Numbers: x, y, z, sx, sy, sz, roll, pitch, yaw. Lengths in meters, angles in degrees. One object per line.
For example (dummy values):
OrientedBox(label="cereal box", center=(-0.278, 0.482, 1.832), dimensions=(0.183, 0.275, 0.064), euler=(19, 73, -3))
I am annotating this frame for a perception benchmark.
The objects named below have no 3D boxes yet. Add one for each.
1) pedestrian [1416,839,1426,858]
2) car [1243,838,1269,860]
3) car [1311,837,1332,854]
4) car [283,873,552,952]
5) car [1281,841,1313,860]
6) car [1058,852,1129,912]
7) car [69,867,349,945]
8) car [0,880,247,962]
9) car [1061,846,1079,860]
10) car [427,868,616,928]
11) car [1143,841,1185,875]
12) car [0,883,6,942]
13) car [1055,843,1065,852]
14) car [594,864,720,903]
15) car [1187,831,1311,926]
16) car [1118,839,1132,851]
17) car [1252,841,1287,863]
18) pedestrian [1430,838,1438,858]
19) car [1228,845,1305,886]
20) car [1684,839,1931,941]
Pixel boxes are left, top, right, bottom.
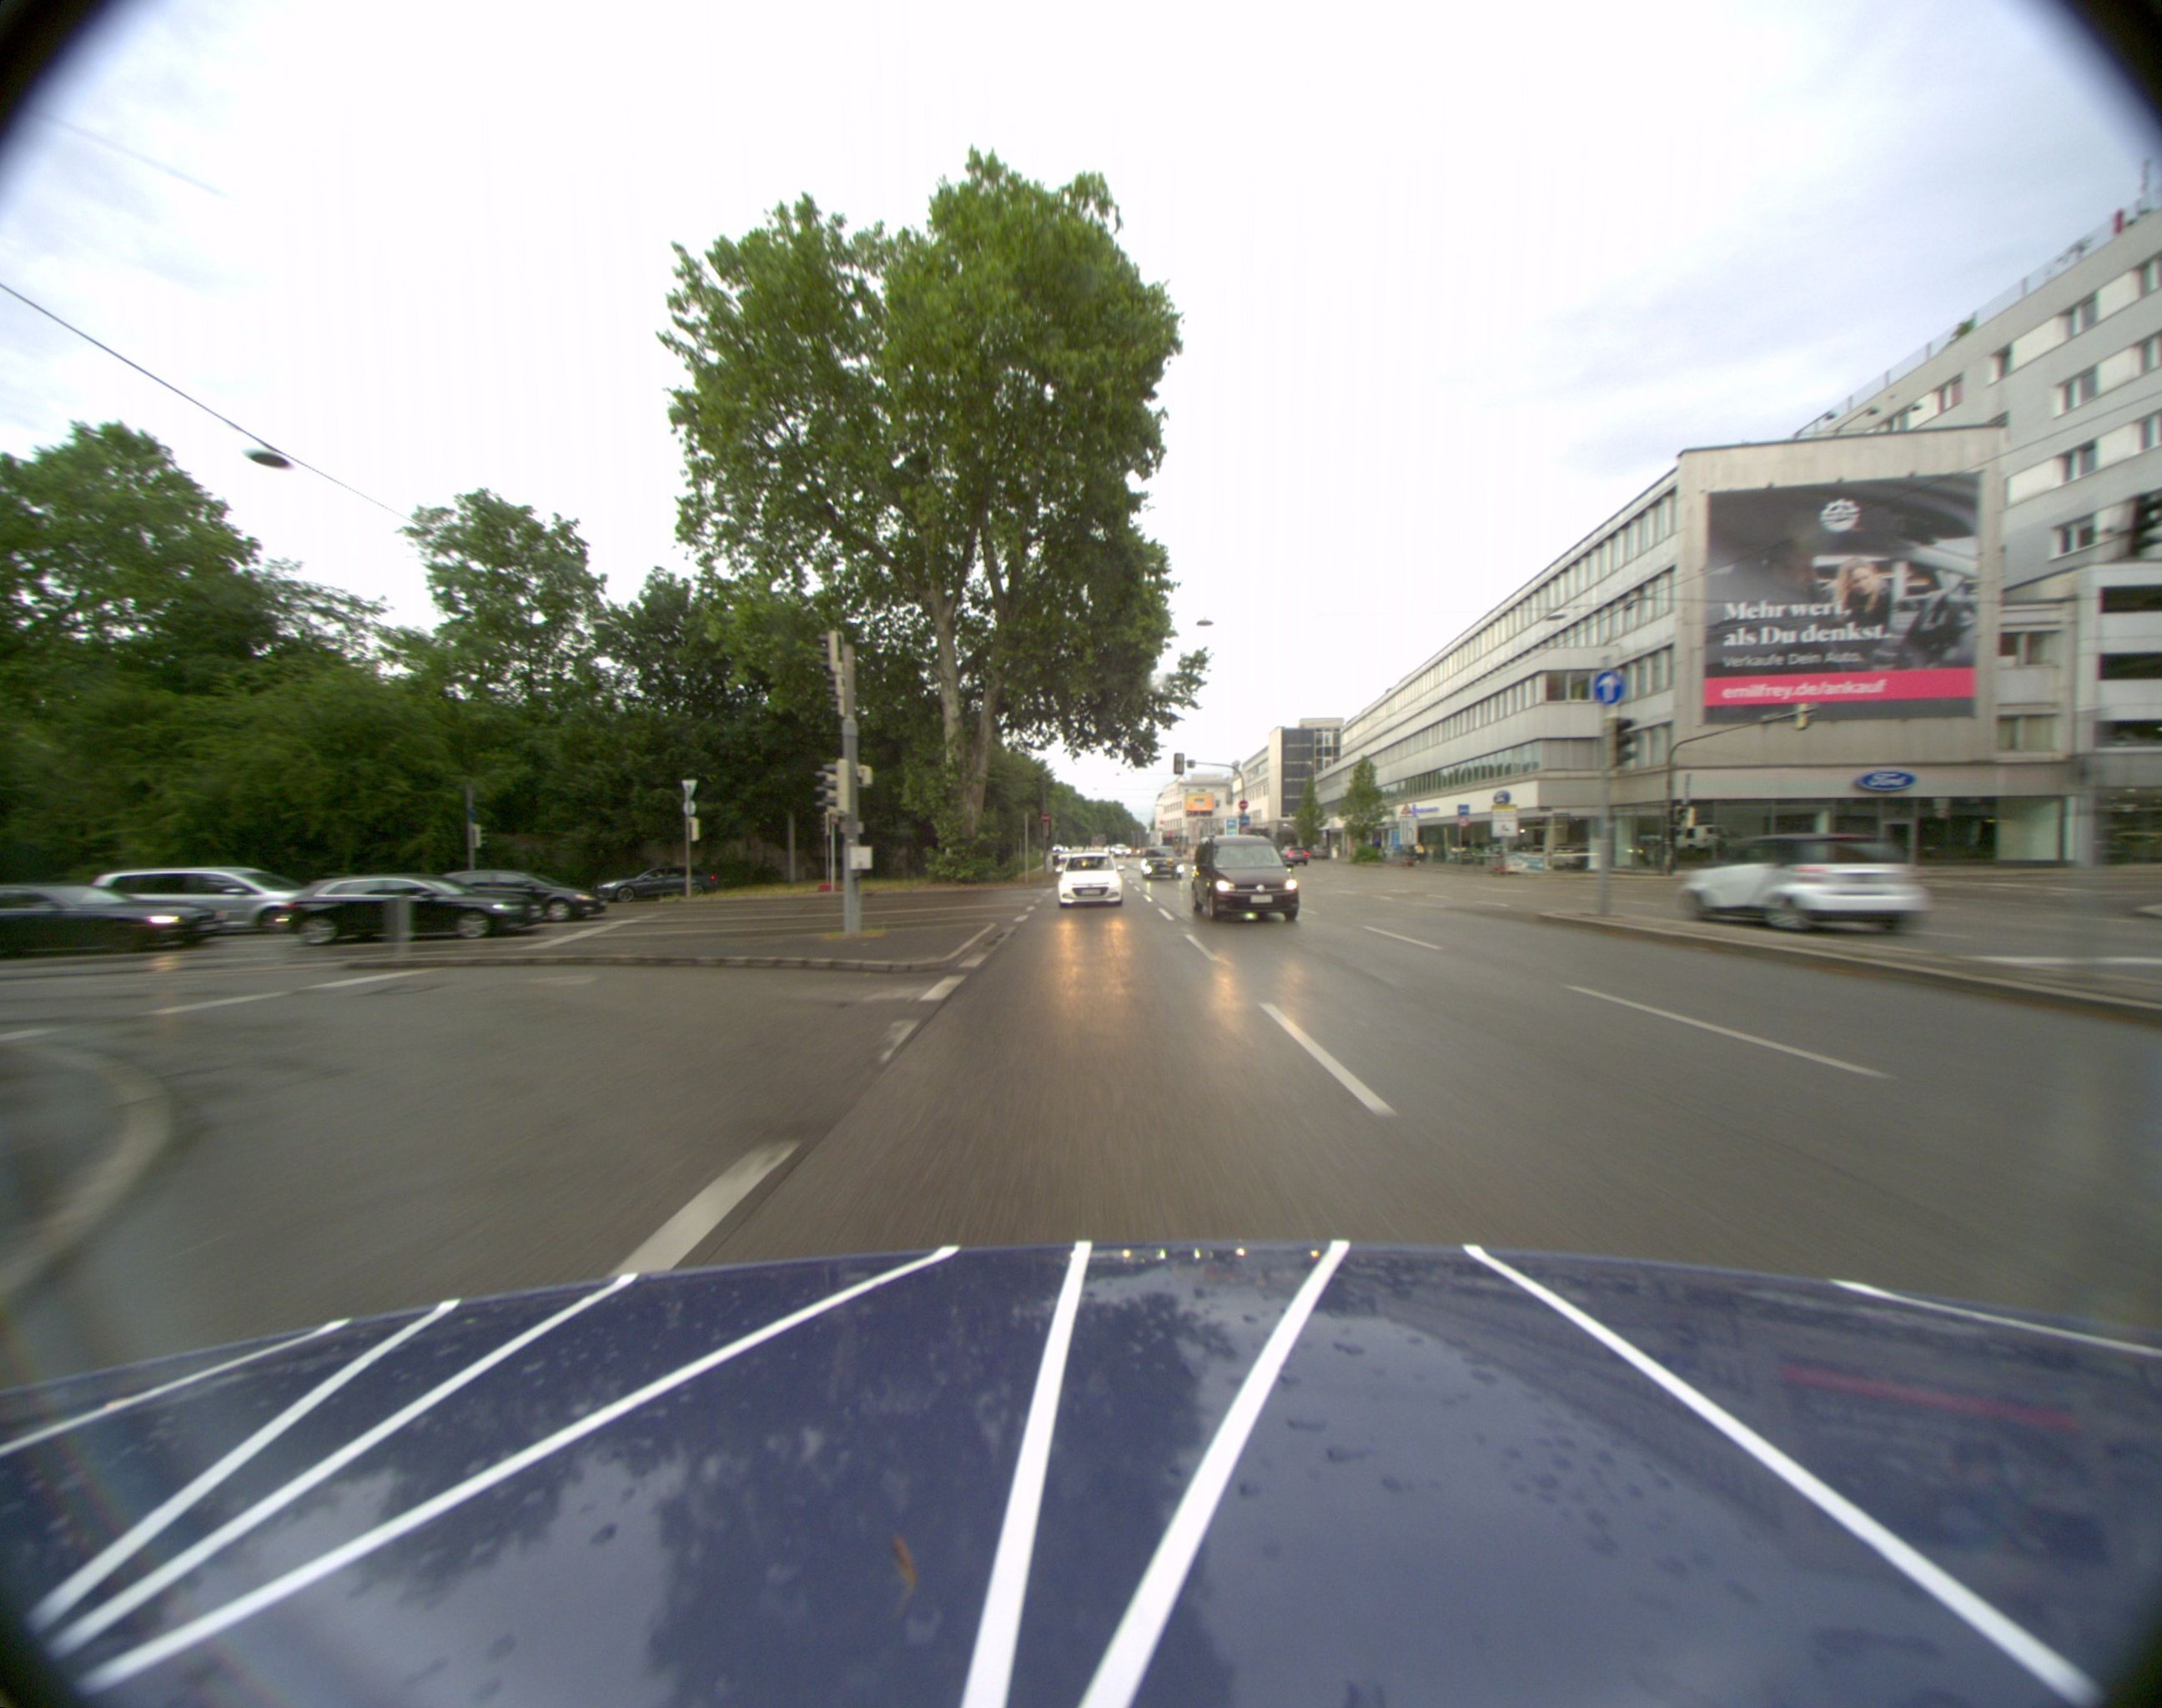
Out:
OrientedBox(label="pedestrian", center=(26.744, -0.423, 59.786), dimensions=(0.575, 1.522, 0.454), euler=(-1, 1, 7))
OrientedBox(label="car", center=(14.261, -0.424, 62.041), dimensions=(1.684, 1.632, 4.001), euler=(-1, 1, 7))
OrientedBox(label="car", center=(28.967, -1.029, 91.633), dimensions=(1.883, 1.856, 4.002), euler=(-1, 1, 10))
OrientedBox(label="car", center=(-14.311, 1.200, 16.711), dimensions=(4.058, 1.395, 1.776), euler=(-1, 1, -21))
OrientedBox(label="car", center=(17.046, -0.319, 60.168), dimensions=(1.684, 1.431, 4.001), euler=(-1, 1, 5))
OrientedBox(label="car", center=(0.331, 0.690, 20.926), dimensions=(1.731, 1.431, 3.999), euler=(-1, 1, 1))
OrientedBox(label="car", center=(-20.847, 1.179, 18.397), dimensions=(4.057, 1.594, 1.776), euler=(-1, 1, -18))
OrientedBox(label="car", center=(-20.057, 1.310, 15.204), dimensions=(4.133, 1.395, 1.776), euler=(-1, 1, -20))
OrientedBox(label="car", center=(-1.251, -0.075, 85.895), dimensions=(1.730, 1.502, 3.732), euler=(-1, 1, 4))
OrientedBox(label="car", center=(-14.919, 1.135, 20.498), dimensions=(3.696, 1.371, 1.776), euler=(-1, 1, -17))
OrientedBox(label="car", center=(4.156, 0.170, 38.620), dimensions=(1.731, 1.604, 3.999), euler=(-1, 1, 1))
OrientedBox(label="car", center=(-26.757, 1.418, 16.391), dimensions=(3.698, 1.371, 1.775), euler=(-1, 1, -22))
OrientedBox(label="car", center=(-4.563, -1.448, 164.644), dimensions=(1.878, 1.762, 3.999), euler=(-2, 1, 2))
OrientedBox(label="car", center=(-17.601, 1.182, 31.689), dimensions=(1.774, 1.395, 4.234), euler=(0, 1, 44))
OrientedBox(label="car", center=(3.514, 0.474, 16.674), dimensions=(1.842, 1.780, 4.000), euler=(-2, 0, 1))
OrientedBox(label="car", center=(5.827, -1.237, 100.093), dimensions=(1.730, 1.502, 3.732), euler=(-1, 1, 6))
OrientedBox(label="car", center=(13.295, -0.149, 53.772), dimensions=(1.684, 1.431, 4.001), euler=(-1, 1, 4))
OrientedBox(label="pedestrian", center=(27.656, -0.451, 59.584), dimensions=(0.437, 1.522, 0.513), euler=(-1, 1, 7))
OrientedBox(label="car", center=(7.013, 0.440, 29.202), dimensions=(1.670, 1.406, 4.539), euler=(-1, -1, -2))
OrientedBox(label="car", center=(11.689, 0.509, 12.466), dimensions=(1.524, 1.469, 2.771), euler=(-1, 1, 5))
